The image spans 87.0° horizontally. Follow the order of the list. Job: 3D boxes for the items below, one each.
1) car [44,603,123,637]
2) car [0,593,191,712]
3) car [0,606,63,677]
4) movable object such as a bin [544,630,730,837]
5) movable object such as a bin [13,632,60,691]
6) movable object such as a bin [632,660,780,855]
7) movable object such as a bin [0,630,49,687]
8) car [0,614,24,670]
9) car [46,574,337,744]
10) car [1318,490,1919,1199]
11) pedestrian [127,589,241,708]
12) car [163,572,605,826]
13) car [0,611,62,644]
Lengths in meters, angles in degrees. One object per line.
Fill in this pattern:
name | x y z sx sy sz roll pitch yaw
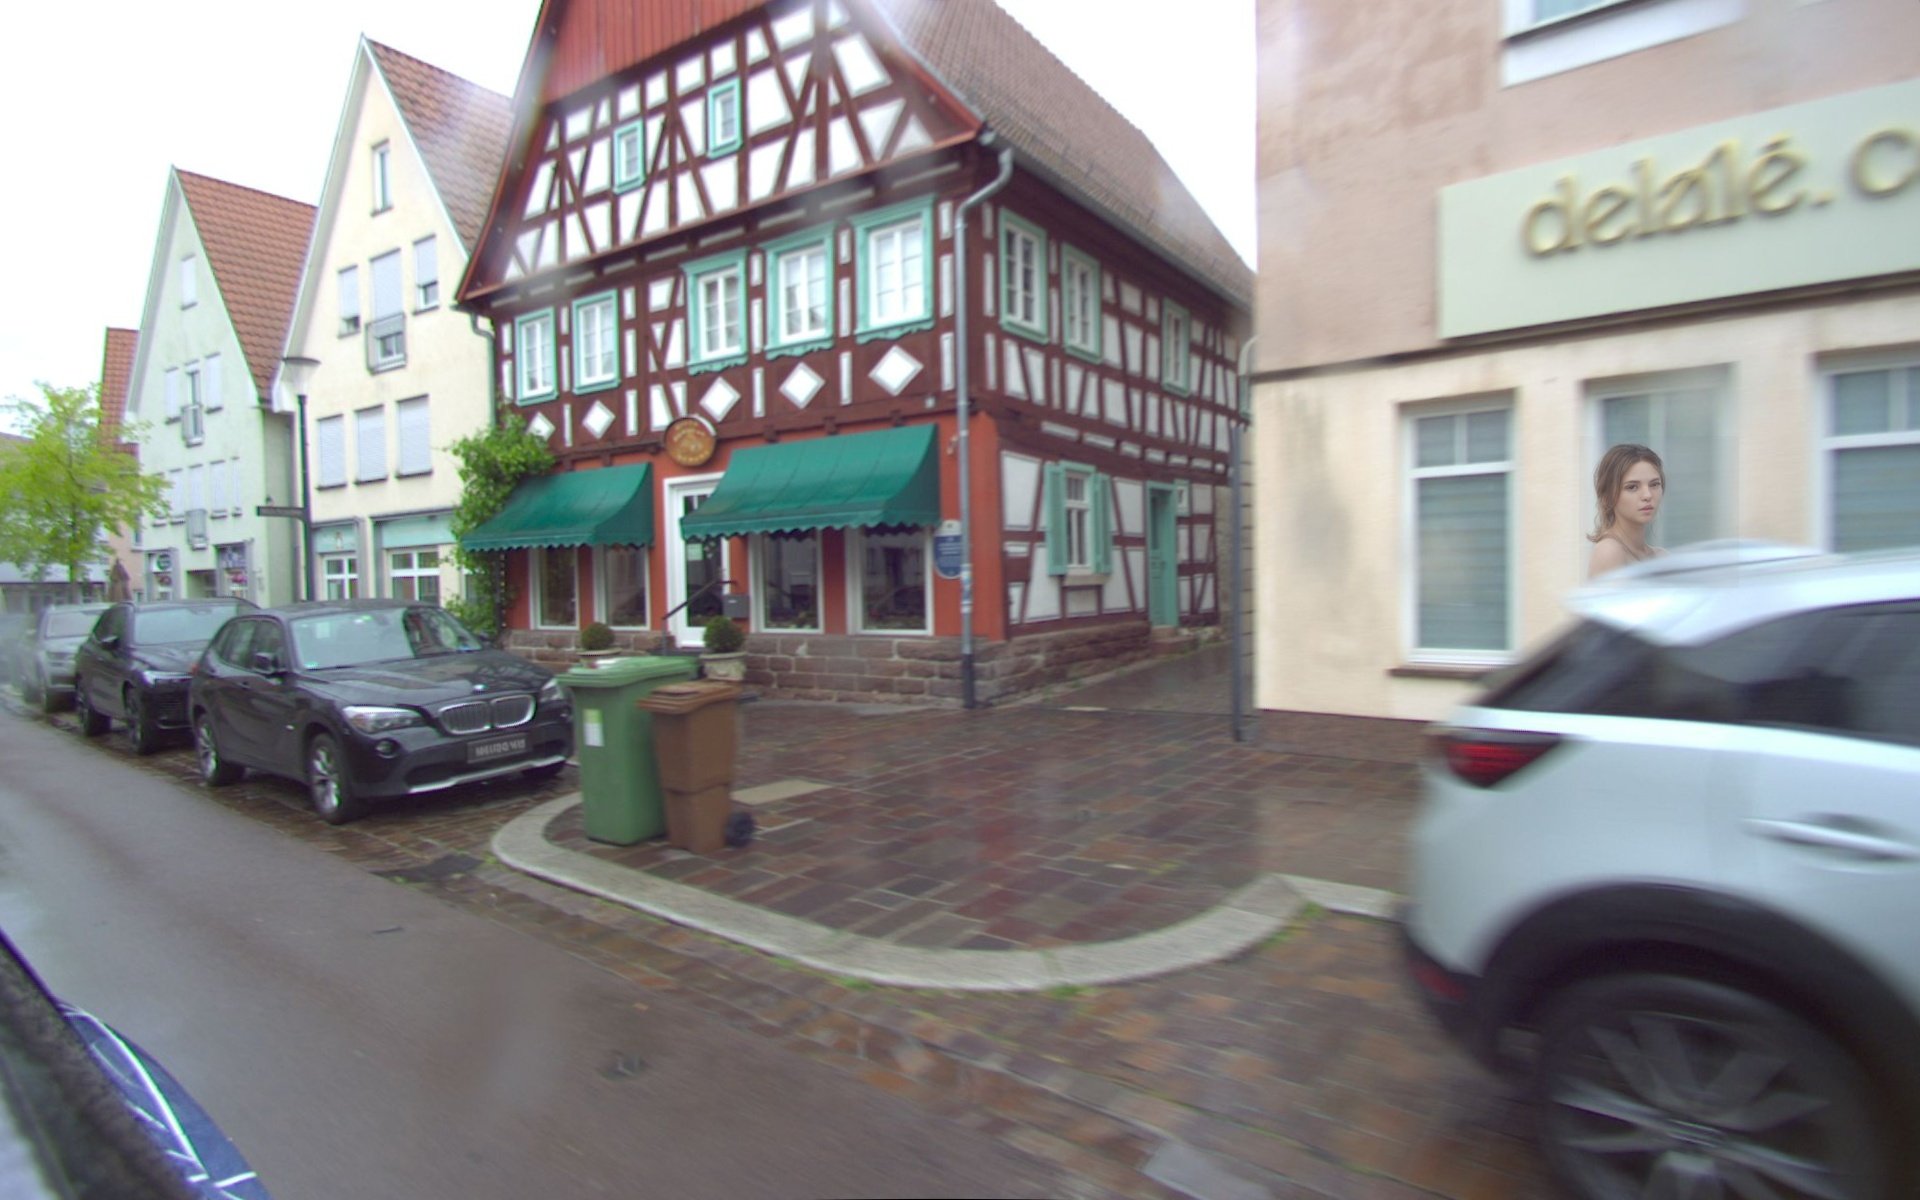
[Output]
car | -51.136 1.123 59.147 1.763 1.651 4.454 -2 2 -17
car | -14.901 0.767 17.275 4.639 1.678 1.806 1 3 40
car | -23.499 1.017 24.771 4.328 1.535 1.842 -1 3 43
movable object such as a bin | -1.922 0.753 6.048 0.675 1.090 0.762 -3 0 36
movable object such as a bin | -17.822 1.177 19.523 0.534 1.054 0.546 0 2 37
movable object such as a bin | -1.416 0.847 5.669 0.498 0.945 0.603 0 3 37
movable object such as a bin | -19.512 1.198 21.020 0.743 1.091 0.739 0 3 38
car | -27.813 1.214 28.118 4.611 1.453 1.845 -2 1 37
car | -9.552 0.647 12.432 4.639 1.678 1.806 -2 1 40
car | 2.965 0.510 1.645 4.120 1.549 1.674 -2 2 43
pedestrian | -11.798 0.701 15.396 0.790 1.694 1.161 0 3 39
car | -4.951 0.675 8.429 4.286 1.549 1.762 -2 1 40
car | -49.236 1.414 52.927 1.763 1.479 3.961 -2 2 -16
